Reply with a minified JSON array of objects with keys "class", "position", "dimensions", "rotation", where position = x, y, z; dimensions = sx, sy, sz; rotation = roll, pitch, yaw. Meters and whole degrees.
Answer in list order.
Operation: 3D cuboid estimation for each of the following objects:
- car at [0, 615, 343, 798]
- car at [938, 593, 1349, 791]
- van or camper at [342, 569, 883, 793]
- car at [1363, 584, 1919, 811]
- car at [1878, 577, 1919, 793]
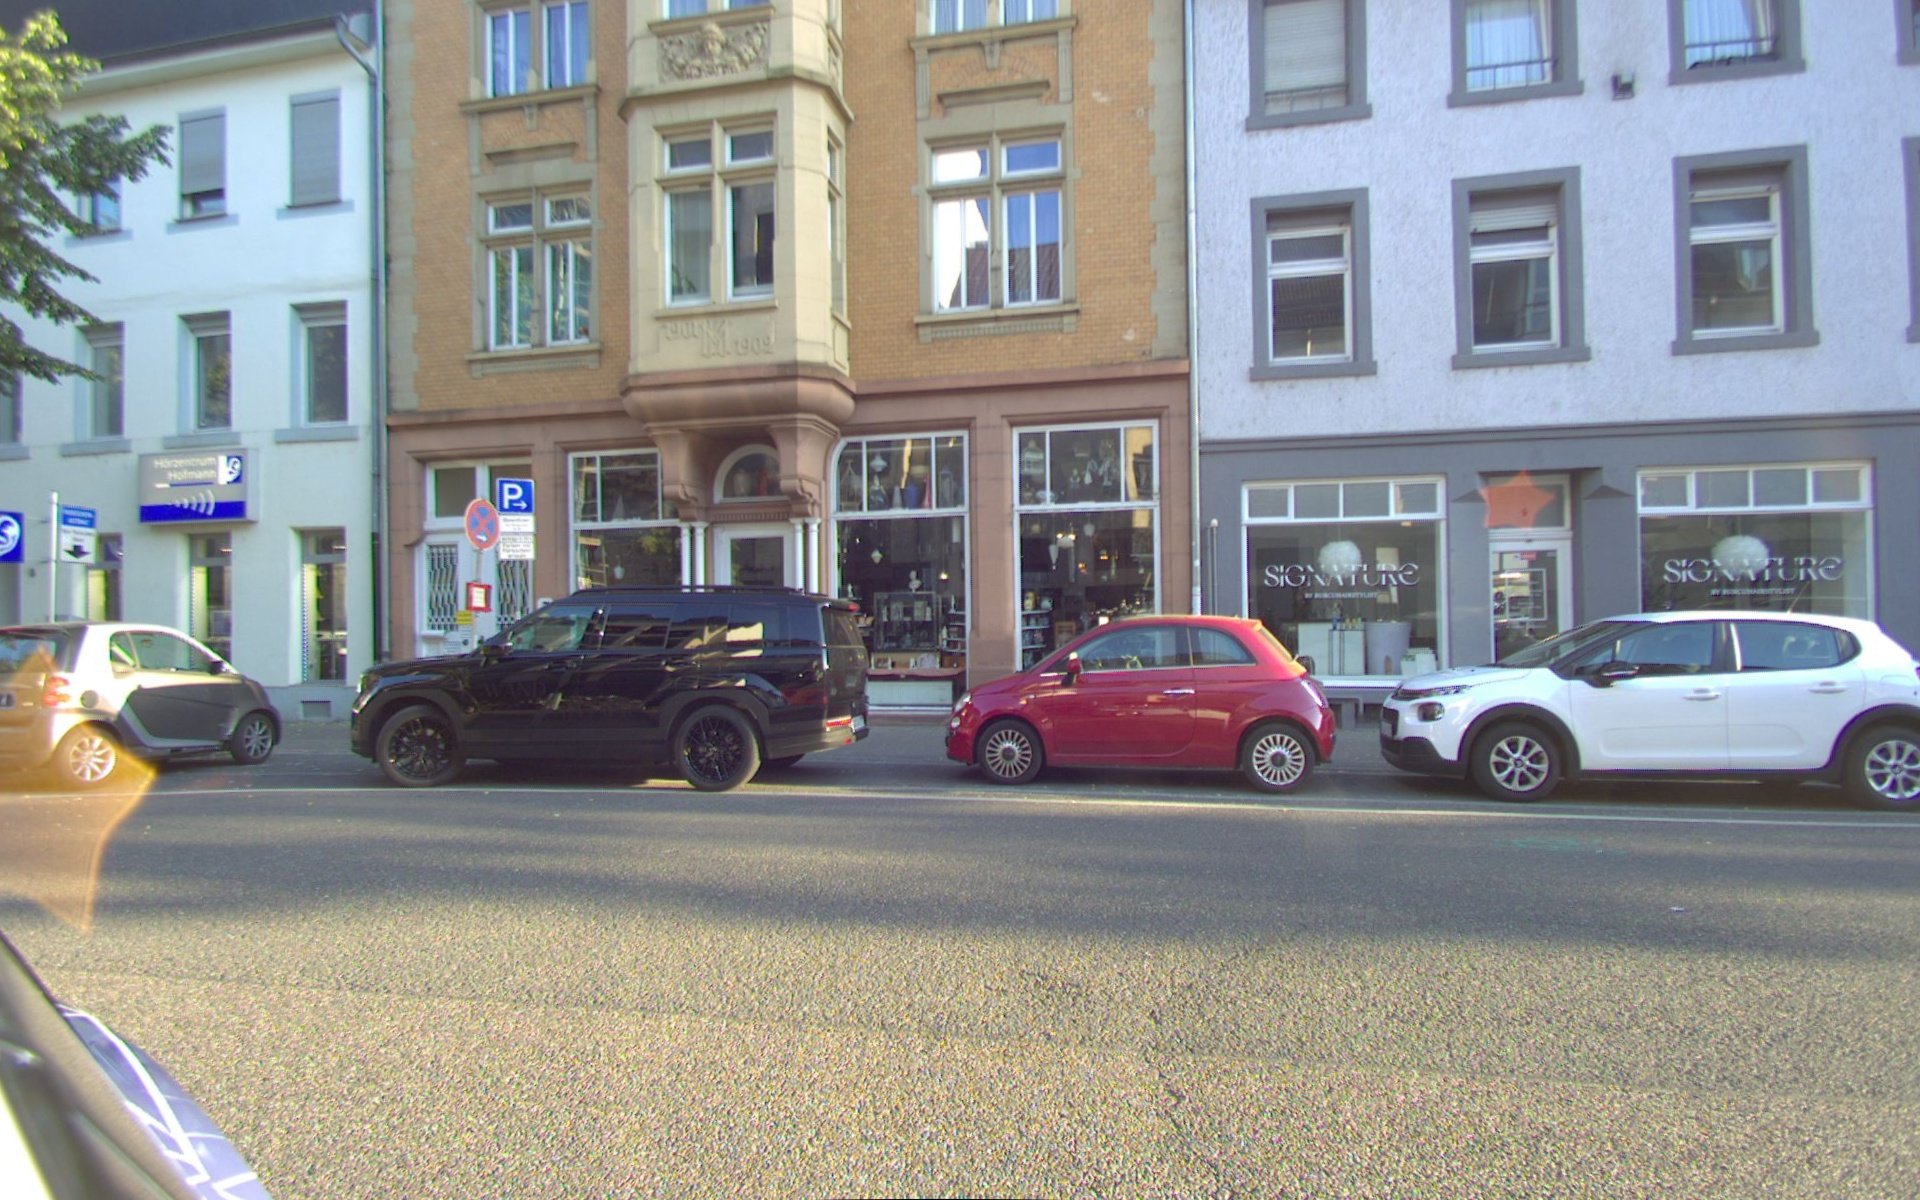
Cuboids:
[{"class":"car","position":[-8.452,0.981,10.633],"dimensions":[1.491,1.588,3.471],"rotation":[-1,-2,9]},{"class":"car","position":[1.625,0.802,9.281],"dimensions":[3.388,1.582,1.524],"rotation":[-1,-3,14]},{"class":"van or camper","position":[-3.067,0.726,9.453],"dimensions":[4.407,1.821,1.892],"rotation":[-1,-2,7]},{"class":"car","position":[5.531,0.754,8.245],"dimensions":[3.895,1.585,1.660],"rotation":[-1,-3,13]},{"class":"car","position":[9.691,0.601,7.098],"dimensions":[4.413,1.711,1.793],"rotation":[-1,-3,11]}]
